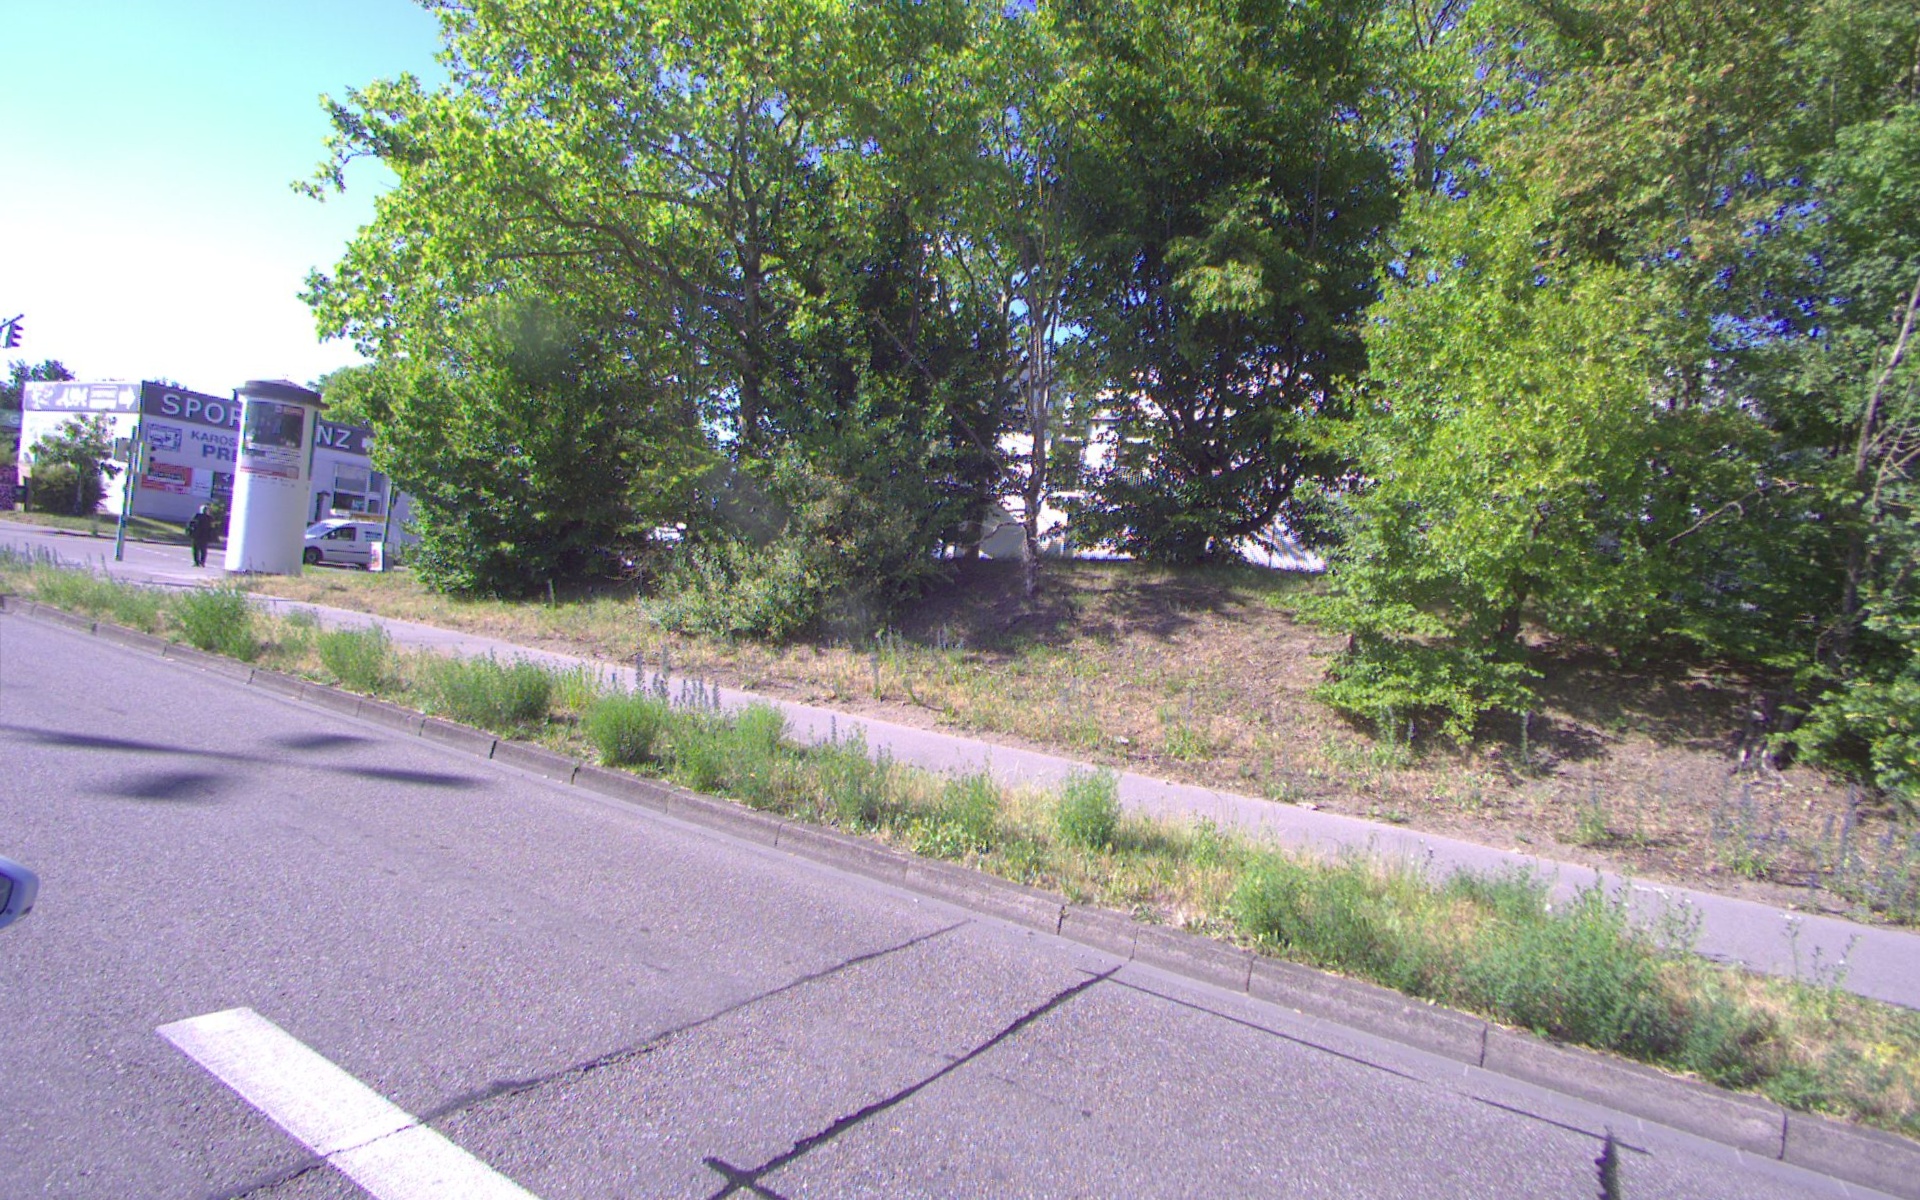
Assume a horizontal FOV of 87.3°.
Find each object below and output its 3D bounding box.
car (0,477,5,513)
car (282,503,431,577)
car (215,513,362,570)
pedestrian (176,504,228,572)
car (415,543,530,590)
[{"bbox_3d":[-48.287,-5.352,47.692,1.663,1.726,4.003,7,-1,16],"label":"car"},{"bbox_3d":[-23.389,-2.295,39.178,1.965,2.171,4.415,7,-1,28],"label":"car"},{"bbox_3d":[-26.831,-2.290,40.351,1.965,1.571,4.415,7,-1,28],"label":"car"},{"bbox_3d":[-21.143,-1.717,28.068,0.841,1.743,0.822,7,0,39],"label":"pedestrian"},{"bbox_3d":[-22.704,-1.525,47.000,1.965,1.571,4.415,7,-1,28],"label":"car"}]
